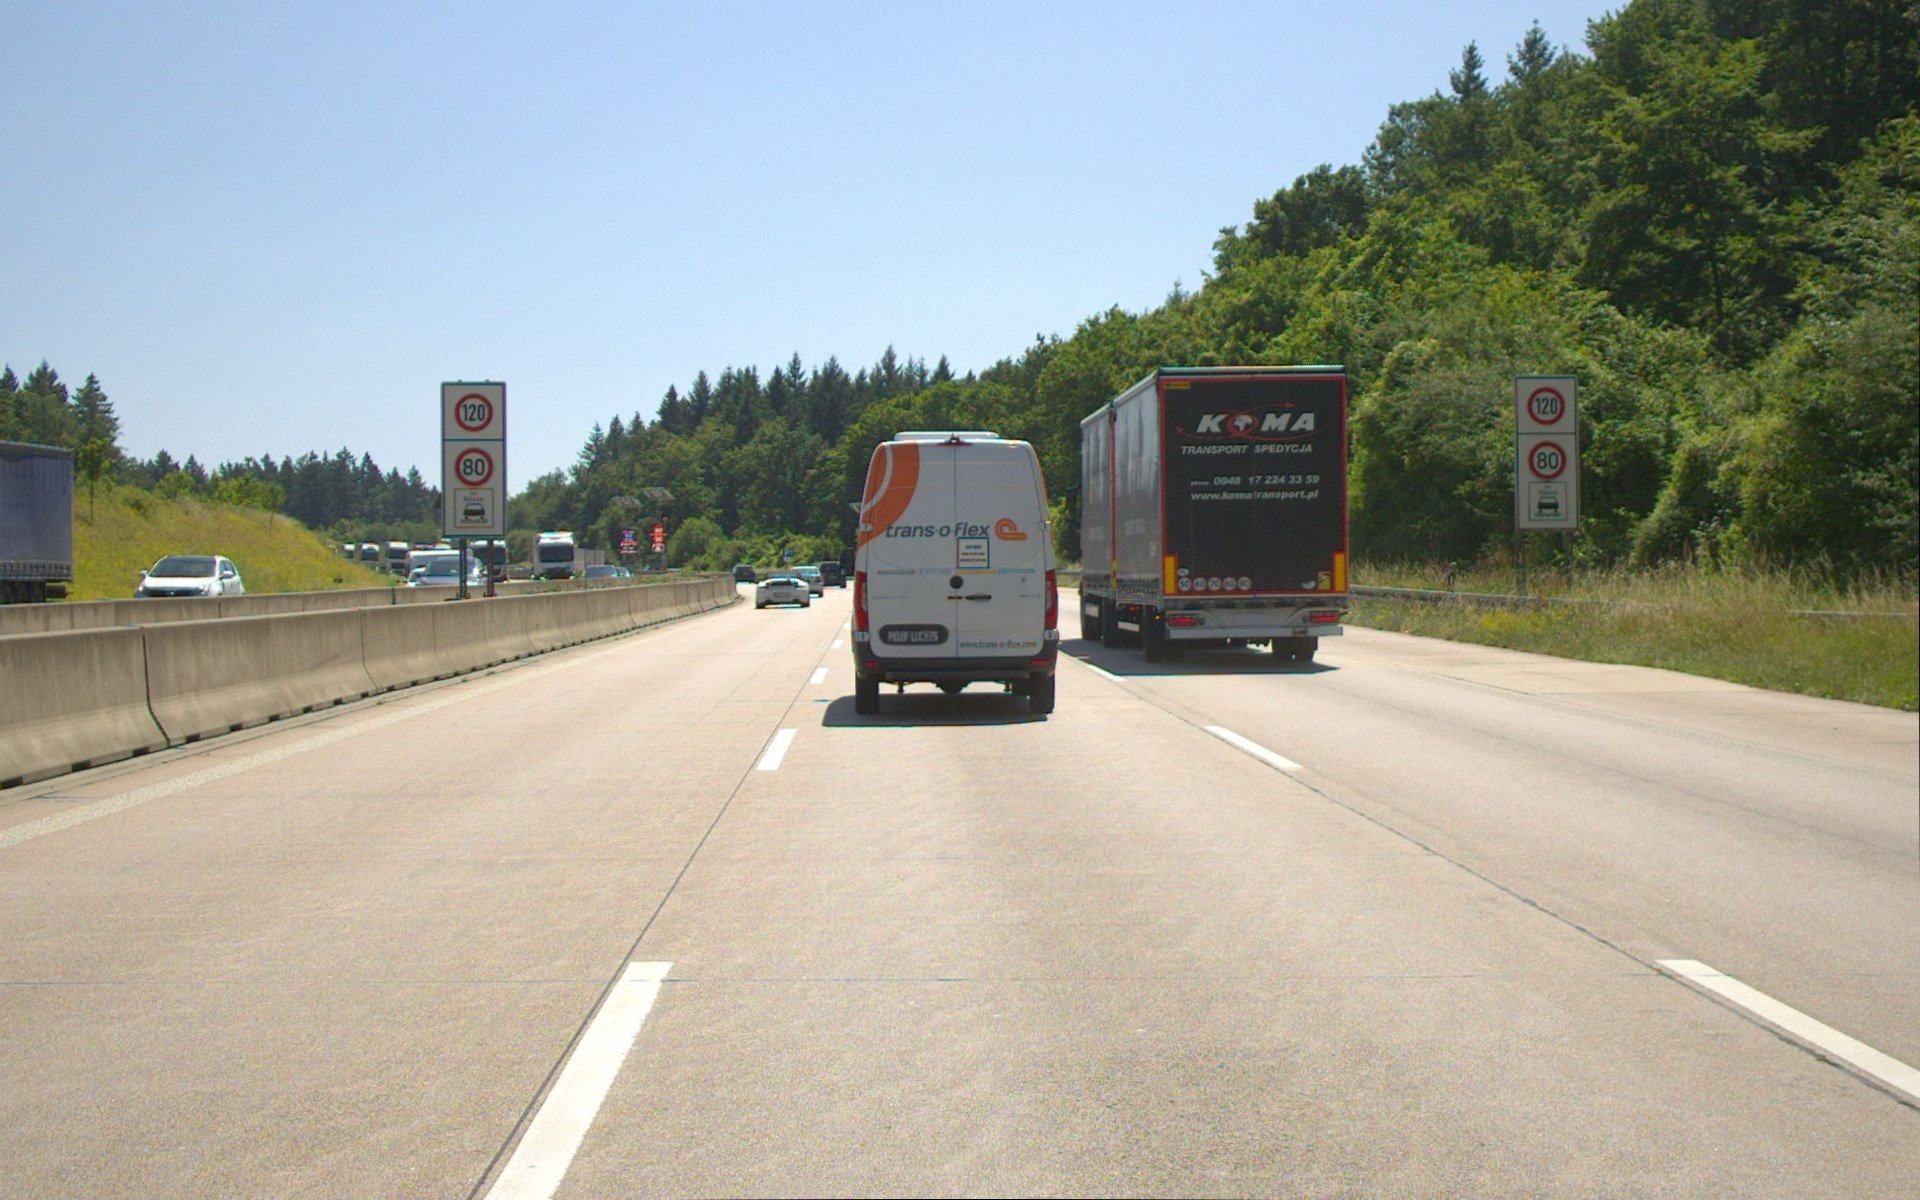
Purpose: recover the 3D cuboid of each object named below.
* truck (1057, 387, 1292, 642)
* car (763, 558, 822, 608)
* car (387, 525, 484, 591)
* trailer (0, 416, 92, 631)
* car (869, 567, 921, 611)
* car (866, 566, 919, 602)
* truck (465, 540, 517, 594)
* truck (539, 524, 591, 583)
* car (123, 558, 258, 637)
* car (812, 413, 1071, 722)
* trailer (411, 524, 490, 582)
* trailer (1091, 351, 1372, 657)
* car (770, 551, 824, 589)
[{"bbox_3d":[3.575,-1.424,60.123,3.159,4.003,10.608,-1,1,-1],"label":"truck"},{"bbox_3d":[-5.816,-0.593,119.387,1.993,1.678,4.000,1,0,-3],"label":"car"},{"bbox_3d":[-13.894,-1.109,91.297,1.993,1.686,4.372,0,1,-1],"label":"car"},{"bbox_3d":[-21.487,-1.600,71.896,3.387,4.416,13.925,1,0,-1],"label":"trailer"},{"bbox_3d":[-2.522,-0.423,133.477,1.993,1.678,4.000,1,0,-1],"label":"car"},{"bbox_3d":[-3.252,-0.743,164.361,1.993,1.678,4.001,1,0,-9],"label":"car"},{"bbox_3d":[-29.852,-2.074,219.014,2.725,3.401,4.513,1,0,-2],"label":"truck"},{"bbox_3d":[-27.003,-3.176,235.210,3.160,3.919,5.837,1,0,-3],"label":"truck"},{"bbox_3d":[-16.987,-0.084,76.132,1.993,1.686,4.816,0,1,-1],"label":"car"},{"bbox_3d":[-0.290,-0.360,34.749,2.226,2.834,5.455,-1,1,-4],"label":"car"},{"bbox_3d":[-23.436,-2.154,158.341,2.606,2.622,7.782,0,1,-1],"label":"trailer"},{"bbox_3d":[3.787,-1.325,50.295,3.134,4.003,9.088,-1,1,-1],"label":"trailer"},{"bbox_3d":[-7.429,-1.345,156.341,1.993,1.678,4.001,1,0,-10],"label":"car"}]
